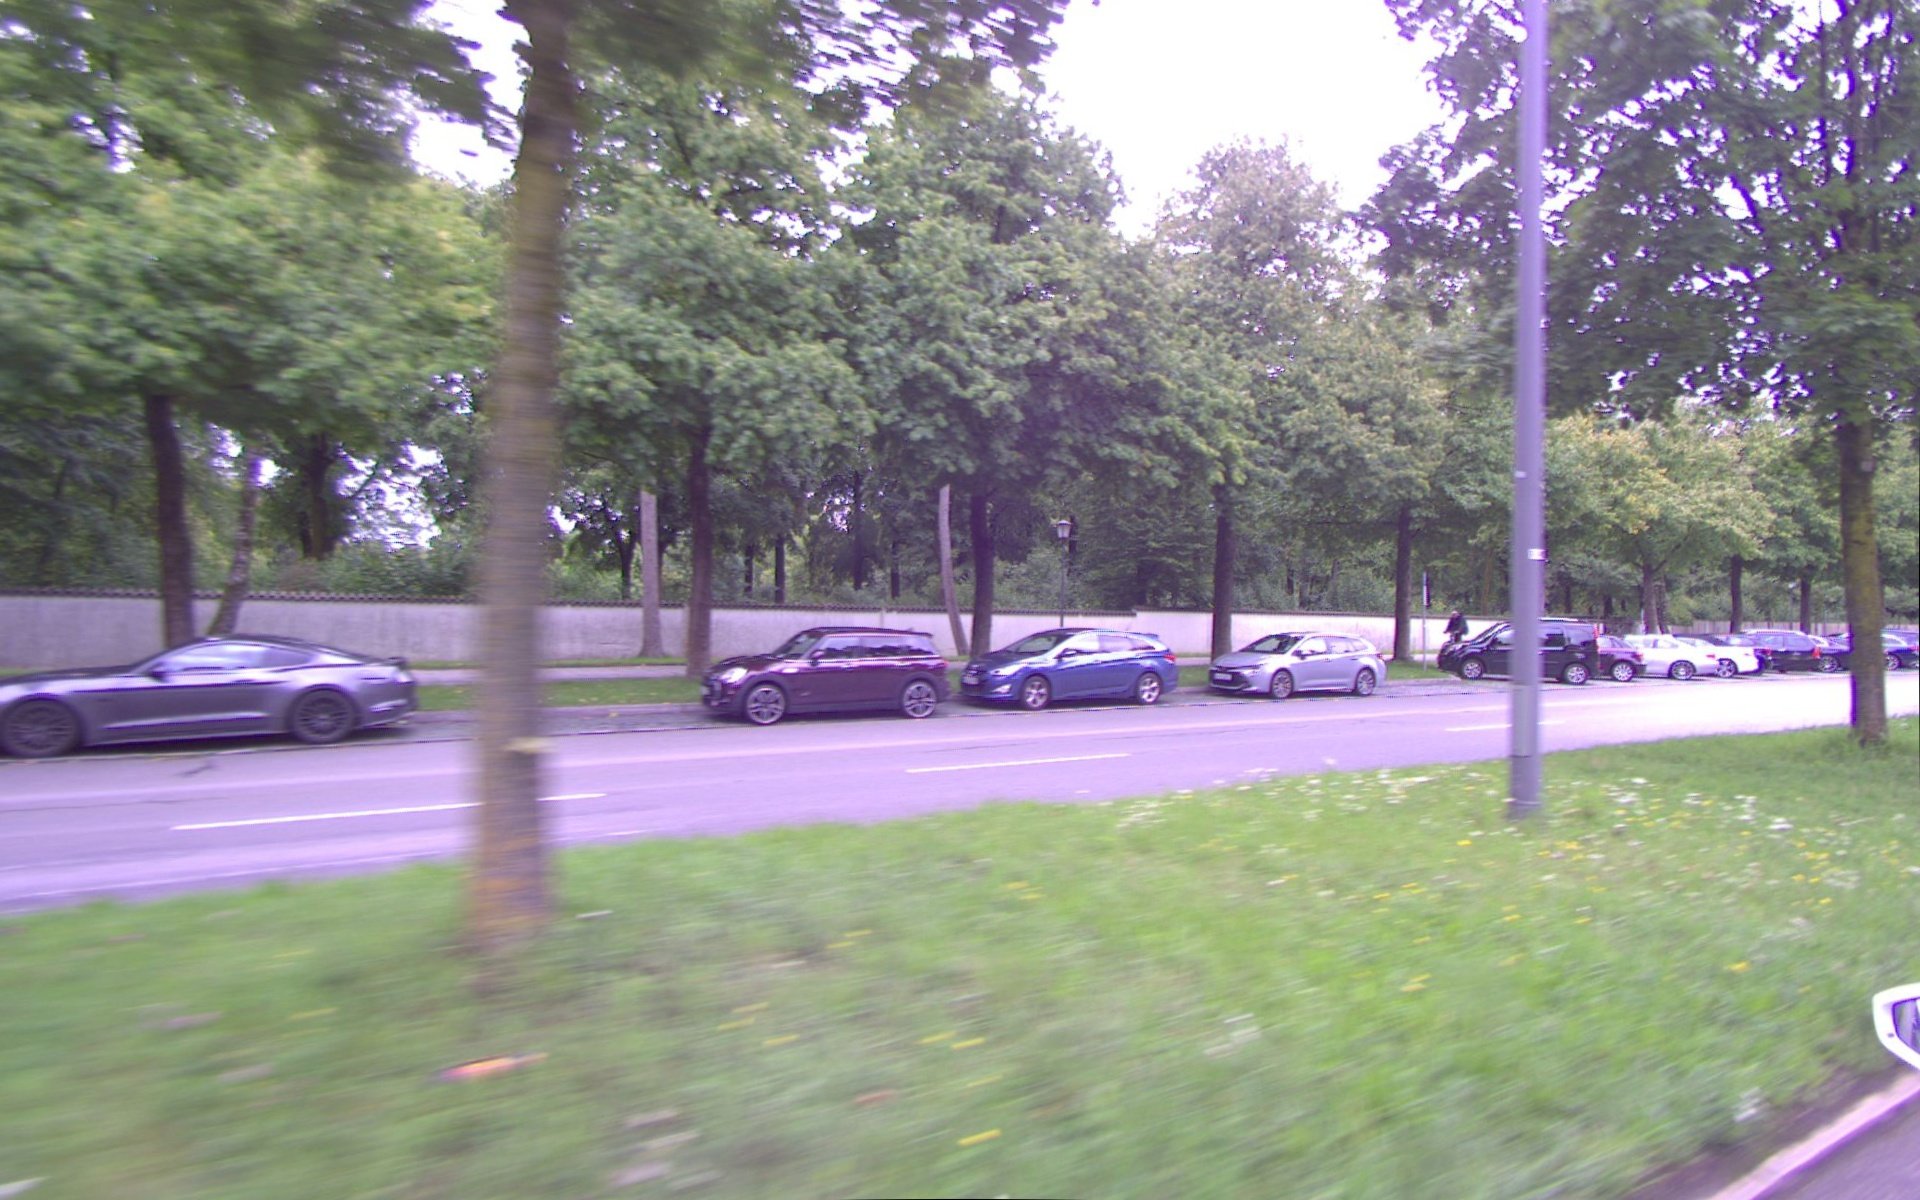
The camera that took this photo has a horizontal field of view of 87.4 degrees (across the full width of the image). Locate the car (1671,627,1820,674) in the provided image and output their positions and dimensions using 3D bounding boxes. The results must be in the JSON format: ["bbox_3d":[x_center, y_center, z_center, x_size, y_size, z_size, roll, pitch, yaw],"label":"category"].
[{"bbox_3d":[29.467,1.865,37.833,4.028,1.618,1.919,0,-1,21],"label":"car"}]

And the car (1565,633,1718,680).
[{"bbox_3d":[22.362,1.831,33.151,3.925,1.372,1.849,0,-1,26],"label":"car"}]

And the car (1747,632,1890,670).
[{"bbox_3d":[35.112,2.060,41.229,4.121,1.428,1.917,0,-1,27],"label":"car"}]

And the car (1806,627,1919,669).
[{"bbox_3d":[39.989,2.085,44.097,4.032,1.702,1.917,0,-1,27],"label":"car"}]

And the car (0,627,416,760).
[{"bbox_3d":[-9.529,1.082,12.677,4.651,1.414,1.651,1,0,-30],"label":"car"}]

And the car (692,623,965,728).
[{"bbox_3d":[-2.172,1.192,16.798,4.247,1.523,1.565,1,0,-26],"label":"car"}]

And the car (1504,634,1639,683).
[{"bbox_3d":[19.113,1.805,31.544,3.517,1.372,1.750,0,-1,30],"label":"car"}]

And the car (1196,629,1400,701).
[{"bbox_3d":[7.746,1.424,22.876,4.750,1.458,1.629,1,0,-29],"label":"car"}]

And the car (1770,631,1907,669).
[{"bbox_3d":[37.480,2.097,42.983,4.032,1.489,1.917,0,-1,27],"label":"car"}]

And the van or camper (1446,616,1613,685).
[{"bbox_3d":[16.756,1.443,29.782,4.044,1.879,1.850,0,-1,20],"label":"van or camper"}]

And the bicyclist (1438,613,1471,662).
[{"bbox_3d":[18.034,1.366,36.658,0.912,1.770,0.702,1,-1,-30],"label":"bicyclist"}]

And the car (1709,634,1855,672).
[{"bbox_3d":[32.210,2.038,39.508,4.125,1.340,1.917,0,-1,27],"label":"car"}]

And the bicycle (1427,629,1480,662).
[{"bbox_3d":[18.028,1.662,36.654,2.091,1.177,0.710,1,-1,-30],"label":"bicycle"}]

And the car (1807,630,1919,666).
[{"bbox_3d":[42.241,2.206,46.761,4.035,1.521,1.916,0,-1,30],"label":"car"}]

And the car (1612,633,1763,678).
[{"bbox_3d":[25.064,1.891,34.764,3.967,1.400,1.673,0,-1,25],"label":"car"}]

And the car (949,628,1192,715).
[{"bbox_3d":[2.225,1.319,19.643,4.745,1.478,1.578,1,0,-32],"label":"car"}]

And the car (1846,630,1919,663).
[{"bbox_3d":[45.279,2.227,48.039,4.035,1.521,1.916,0,-1,30],"label":"car"}]

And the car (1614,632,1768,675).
[{"bbox_3d":[26.545,1.920,36.626,4.157,1.441,1.919,0,-1,19],"label":"car"}]
